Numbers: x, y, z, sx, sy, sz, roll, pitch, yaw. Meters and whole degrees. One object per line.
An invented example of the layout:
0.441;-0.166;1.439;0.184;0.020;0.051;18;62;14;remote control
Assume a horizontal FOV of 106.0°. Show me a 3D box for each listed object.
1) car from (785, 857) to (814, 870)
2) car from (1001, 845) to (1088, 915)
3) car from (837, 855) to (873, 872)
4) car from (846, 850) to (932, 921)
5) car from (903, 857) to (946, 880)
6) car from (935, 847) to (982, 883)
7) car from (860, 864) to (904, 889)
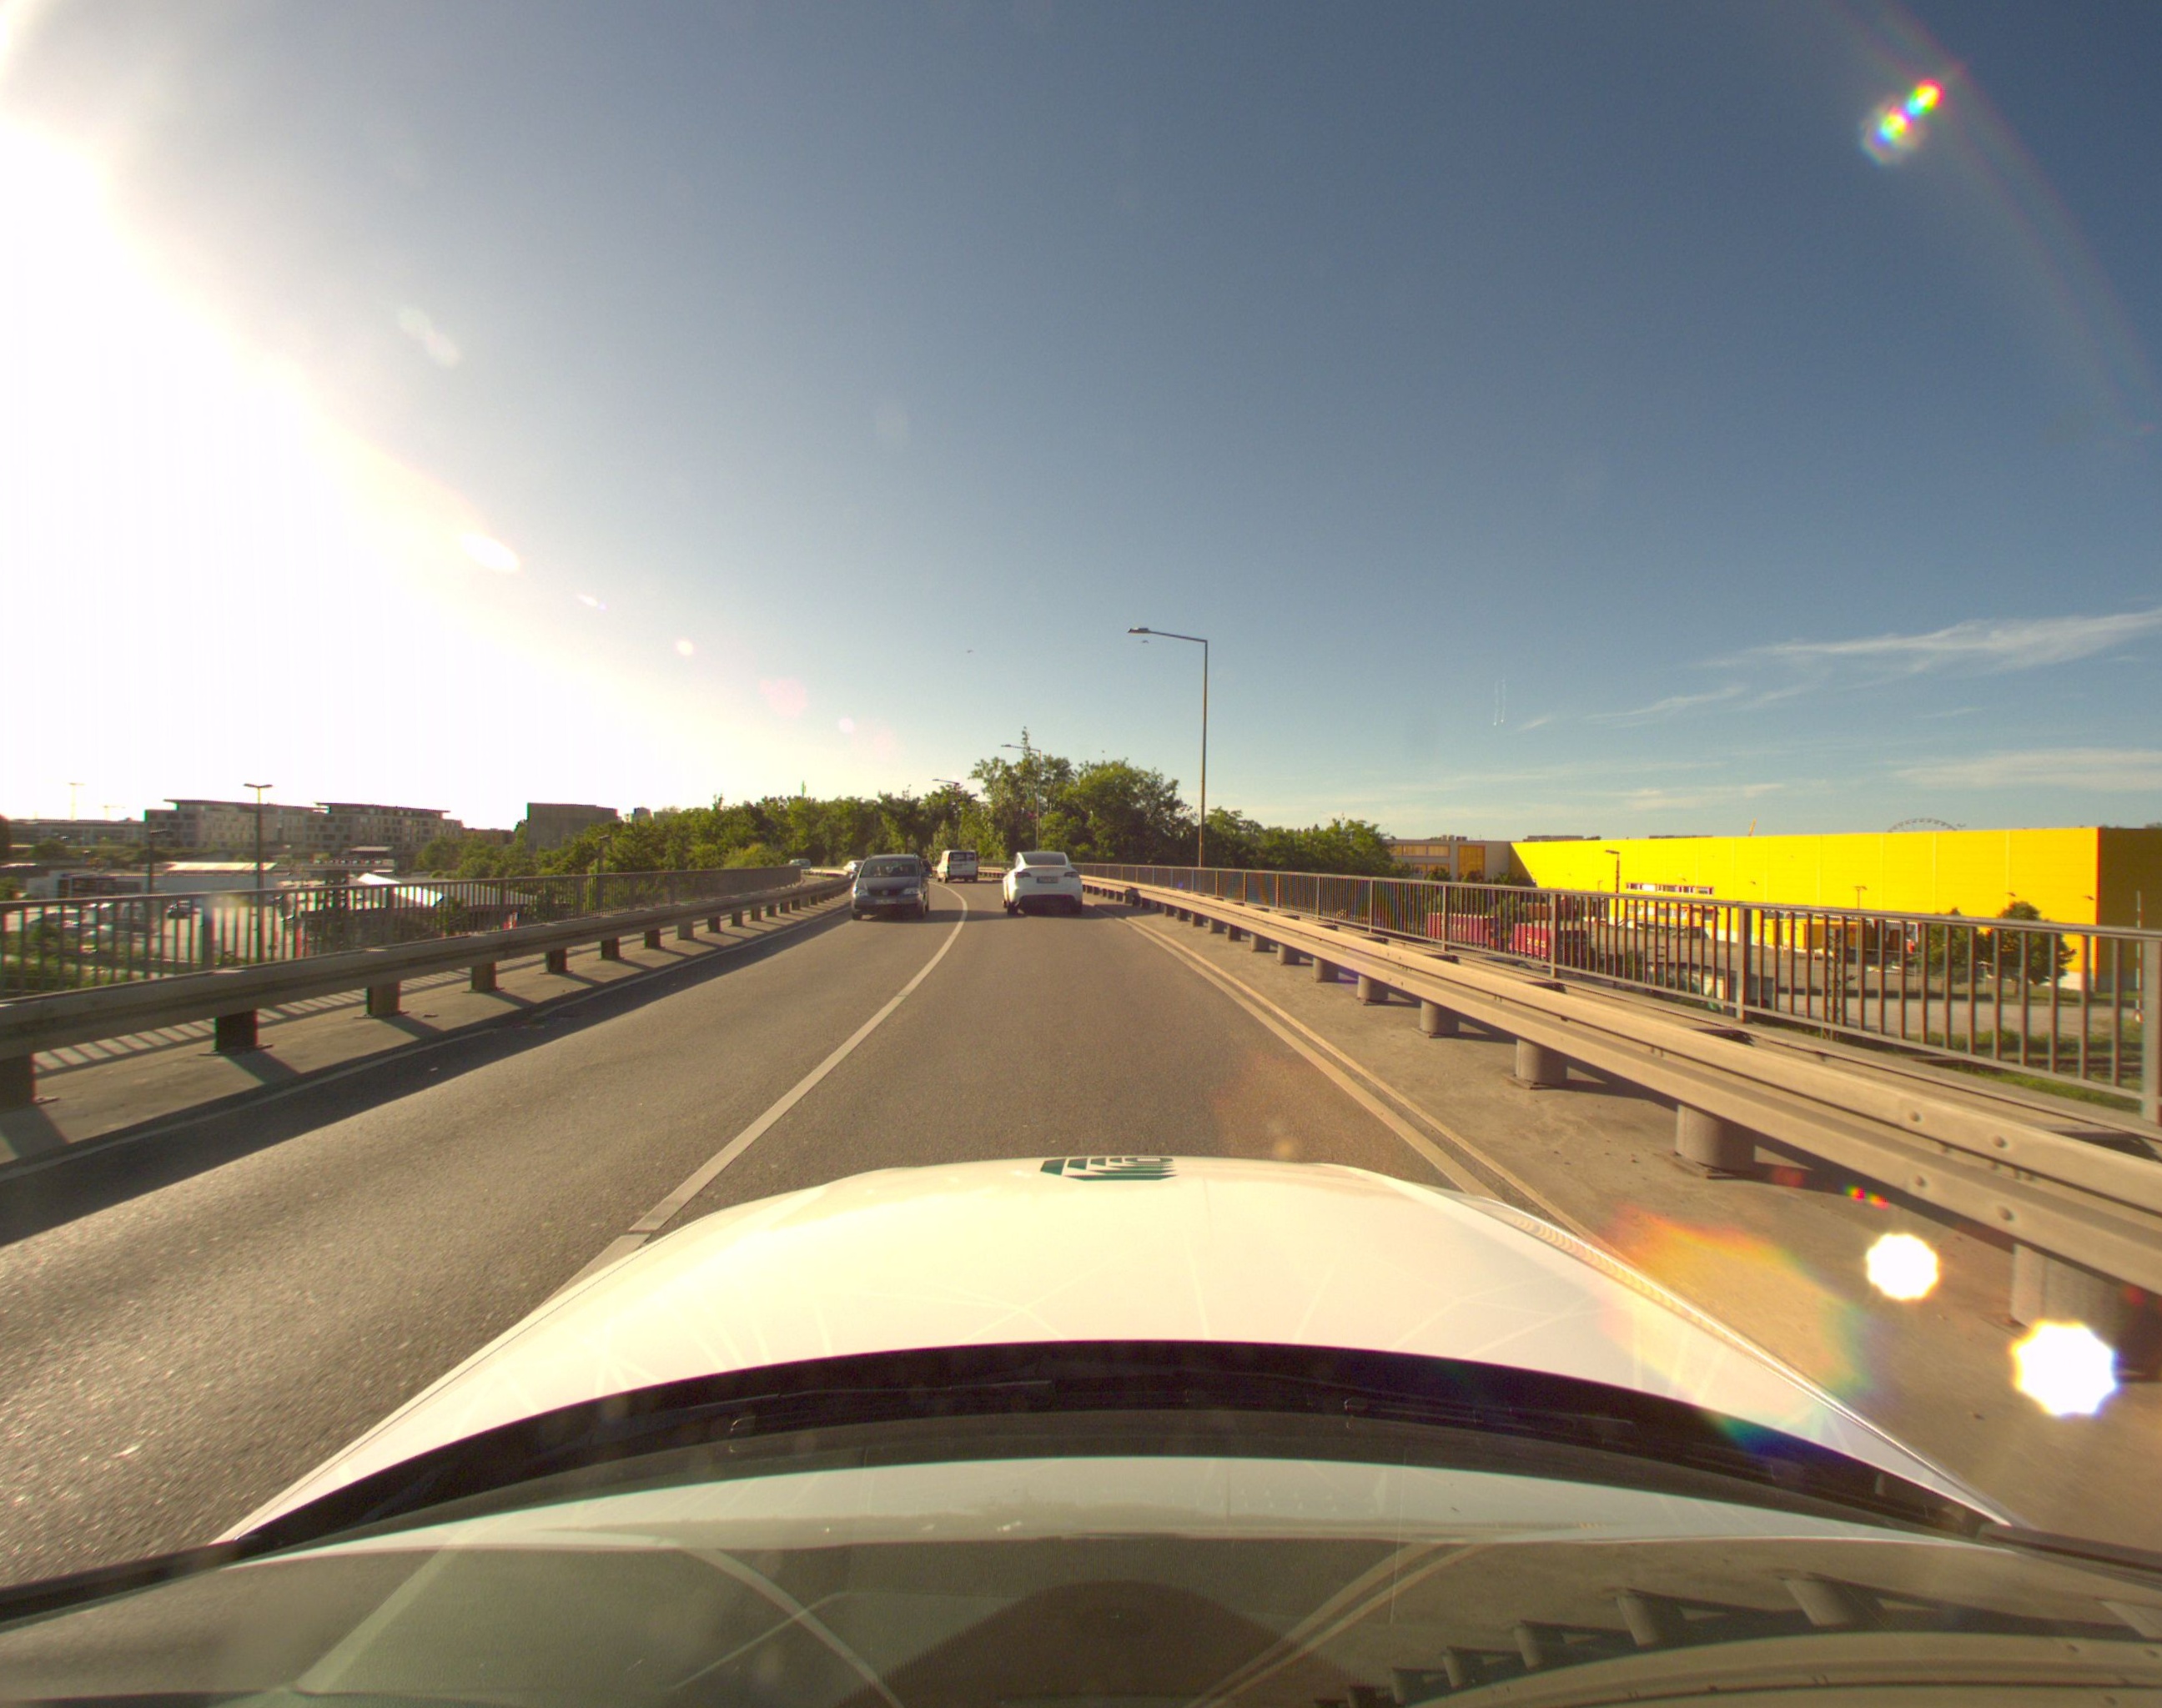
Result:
-34.180;1.184;98.870;1.852;1.555;3.845;-1;0;-45;car
-1.097;0.646;22.058;1.984;1.637;4.052;-2;0;-7;car
-22.859;0.946;82.171;1.876;1.585;3.866;-1;0;-43;car
-4.937;0.747;21.435;1.848;1.623;4.090;-1;0;-9;car
-12.151;1.143;63.041;1.981;1.638;3.961;-2;-1;-31;car
-7.200;0.631;47.687;2.011;1.940;4.440;-1;0;-18;car
-13.144;1.439;53.588;1.848;1.519;3.733;-1;0;-30;car
